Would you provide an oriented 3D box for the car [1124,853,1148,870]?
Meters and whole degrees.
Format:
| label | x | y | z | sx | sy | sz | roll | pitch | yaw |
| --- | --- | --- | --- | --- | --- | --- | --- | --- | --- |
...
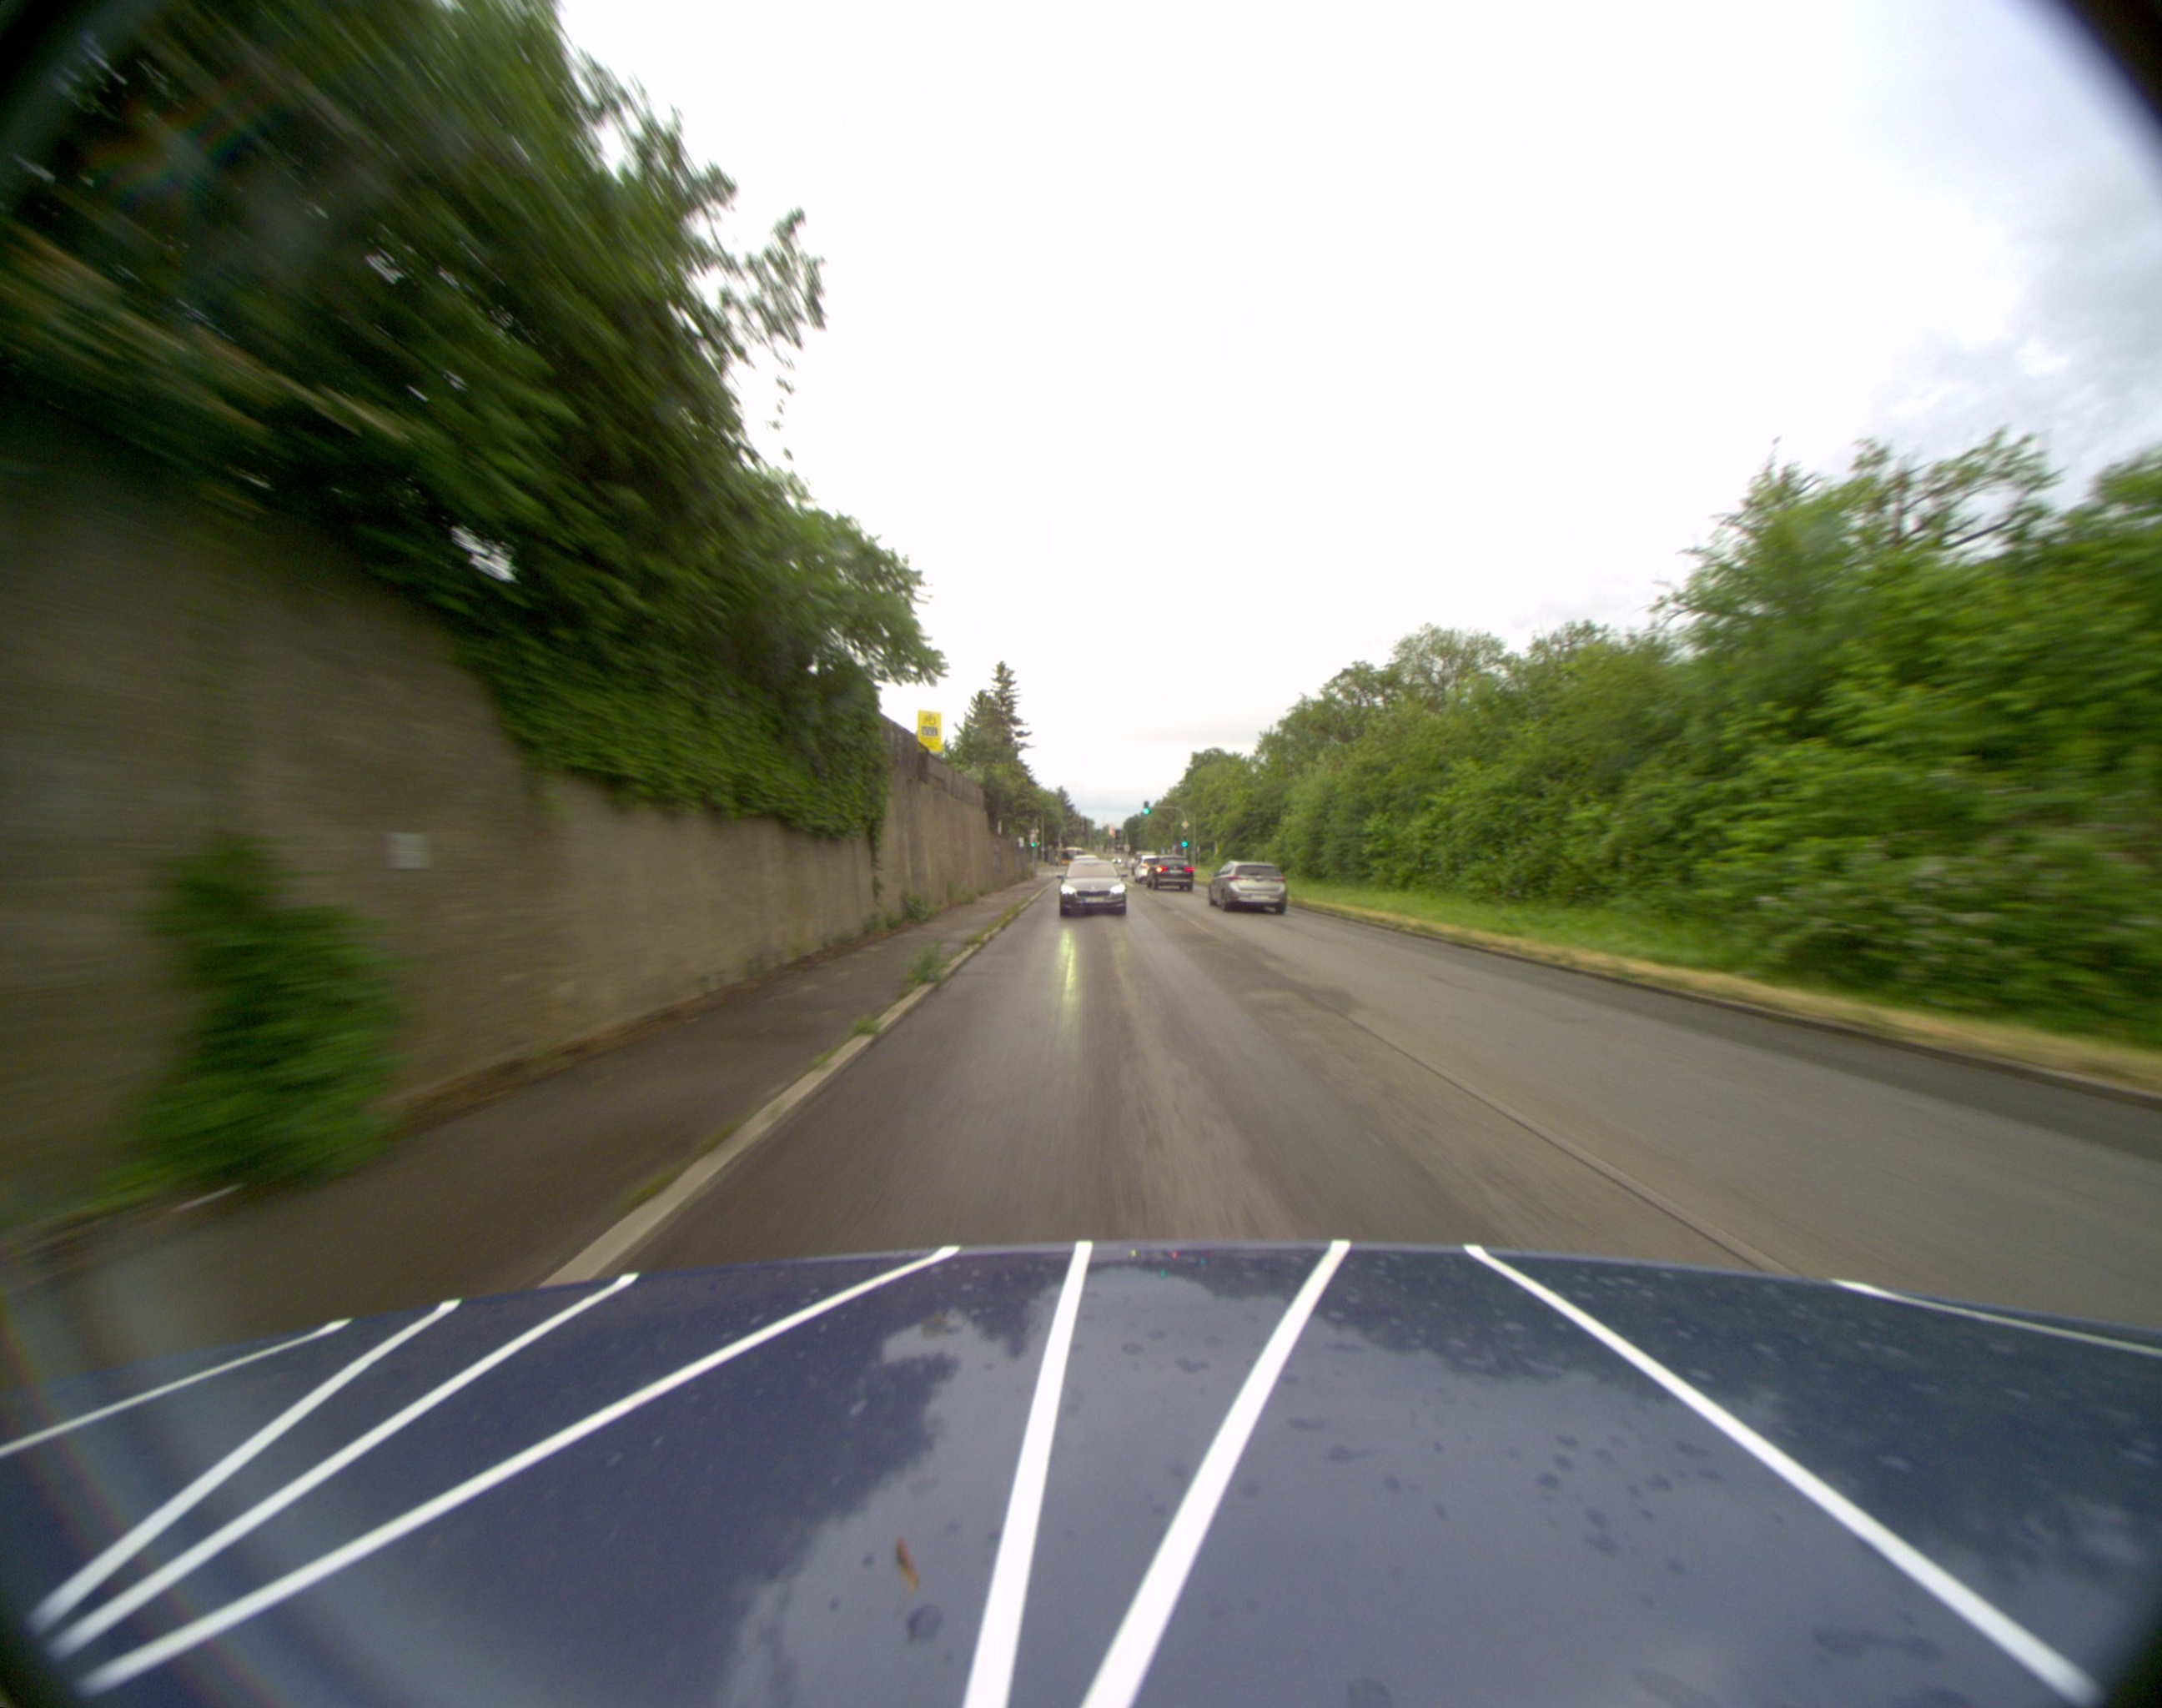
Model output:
| label | x | y | z | sx | sy | sz | roll | pitch | yaw |
| --- | --- | --- | --- | --- | --- | --- | --- | --- | --- |
| car | 5.113 | 0.680 | 71.050 | 1.931 | 1.471 | 4.000 | 1 | 0 | 0 |

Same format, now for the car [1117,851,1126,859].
| label | x | y | z | sx | sy | sz | roll | pitch | yaw |
| --- | --- | --- | --- | --- | --- | --- | --- | --- | --- |
| car | 9.560 | 0.250 | 180.969 | 1.998 | 1.812 | 4.487 | 1 | 0 | 4 |

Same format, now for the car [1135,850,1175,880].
| label | x | y | z | sx | sy | sz | roll | pitch | yaw |
| --- | --- | --- | --- | --- | --- | --- | --- | --- | --- |
| car | 4.241 | 0.609 | 44.132 | 1.899 | 1.625 | 4.269 | 1 | 0 | -1 |

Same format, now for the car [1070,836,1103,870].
| label | x | y | z | sx | sy | sz | roll | pitch | yaw |
| --- | --- | --- | --- | --- | --- | --- | --- | --- | --- |
| car | 0.279 | -0.090 | 41.632 | 1.704 | 1.724 | 3.999 | -1 | 1 | -1 |

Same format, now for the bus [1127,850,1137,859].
| label | x | y | z | sx | sy | sz | roll | pitch | yaw |
| --- | --- | --- | --- | --- | --- | --- | --- | --- | --- |
| bus | 11.536 | 0.101 | 172.507 | 1.998 | 1.812 | 4.485 | 1 | 0 | 0 |

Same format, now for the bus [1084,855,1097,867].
| label | x | y | z | sx | sy | sz | roll | pitch | yaw |
| --- | --- | --- | --- | --- | --- | --- | --- | --- | --- |
| bus | 1.536 | 1.143 | 120.533 | 1.998 | 1.812 | 4.485 | 1 | 0 | 0 |

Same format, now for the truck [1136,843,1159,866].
| label | x | y | z | sx | sy | sz | roll | pitch | yaw |
| --- | --- | --- | --- | --- | --- | --- | --- | --- | --- |
| truck | 7.496 | 0.055 | 85.787 | 2.479 | 2.494 | 5.639 | 1 | 0 | 4 |

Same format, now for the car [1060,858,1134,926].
| label | x | y | z | sx | sy | sz | roll | pitch | yaw |
| --- | --- | --- | --- | --- | --- | --- | --- | --- | --- |
| car | 0.383 | 0.903 | 19.948 | 1.675 | 1.477 | 4.214 | -3 | 0 | 0 |

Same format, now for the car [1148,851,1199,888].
| label | x | y | z | sx | sy | sz | roll | pitch | yaw |
| --- | --- | --- | --- | --- | --- | --- | --- | --- | --- |
| car | 4.223 | 0.666 | 35.373 | 1.737 | 1.584 | 4.281 | 1 | 0 | -1 |

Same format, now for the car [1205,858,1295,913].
| label | x | y | z | sx | sy | sz | roll | pitch | yaw |
| --- | --- | --- | --- | --- | --- | --- | --- | --- | --- |
| car | 4.908 | 0.859 | 22.647 | 1.806 | 1.423 | 4.178 | 1 | 0 | 1 |

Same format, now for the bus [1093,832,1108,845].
| label | x | y | z | sx | sy | sz | roll | pitch | yaw |
| --- | --- | --- | --- | --- | --- | --- | --- | --- | --- |
| bus | 5.086 | -3.940 | 199.927 | 3.175 | 3.242 | 8.214 | 1 | 0 | 7 |
